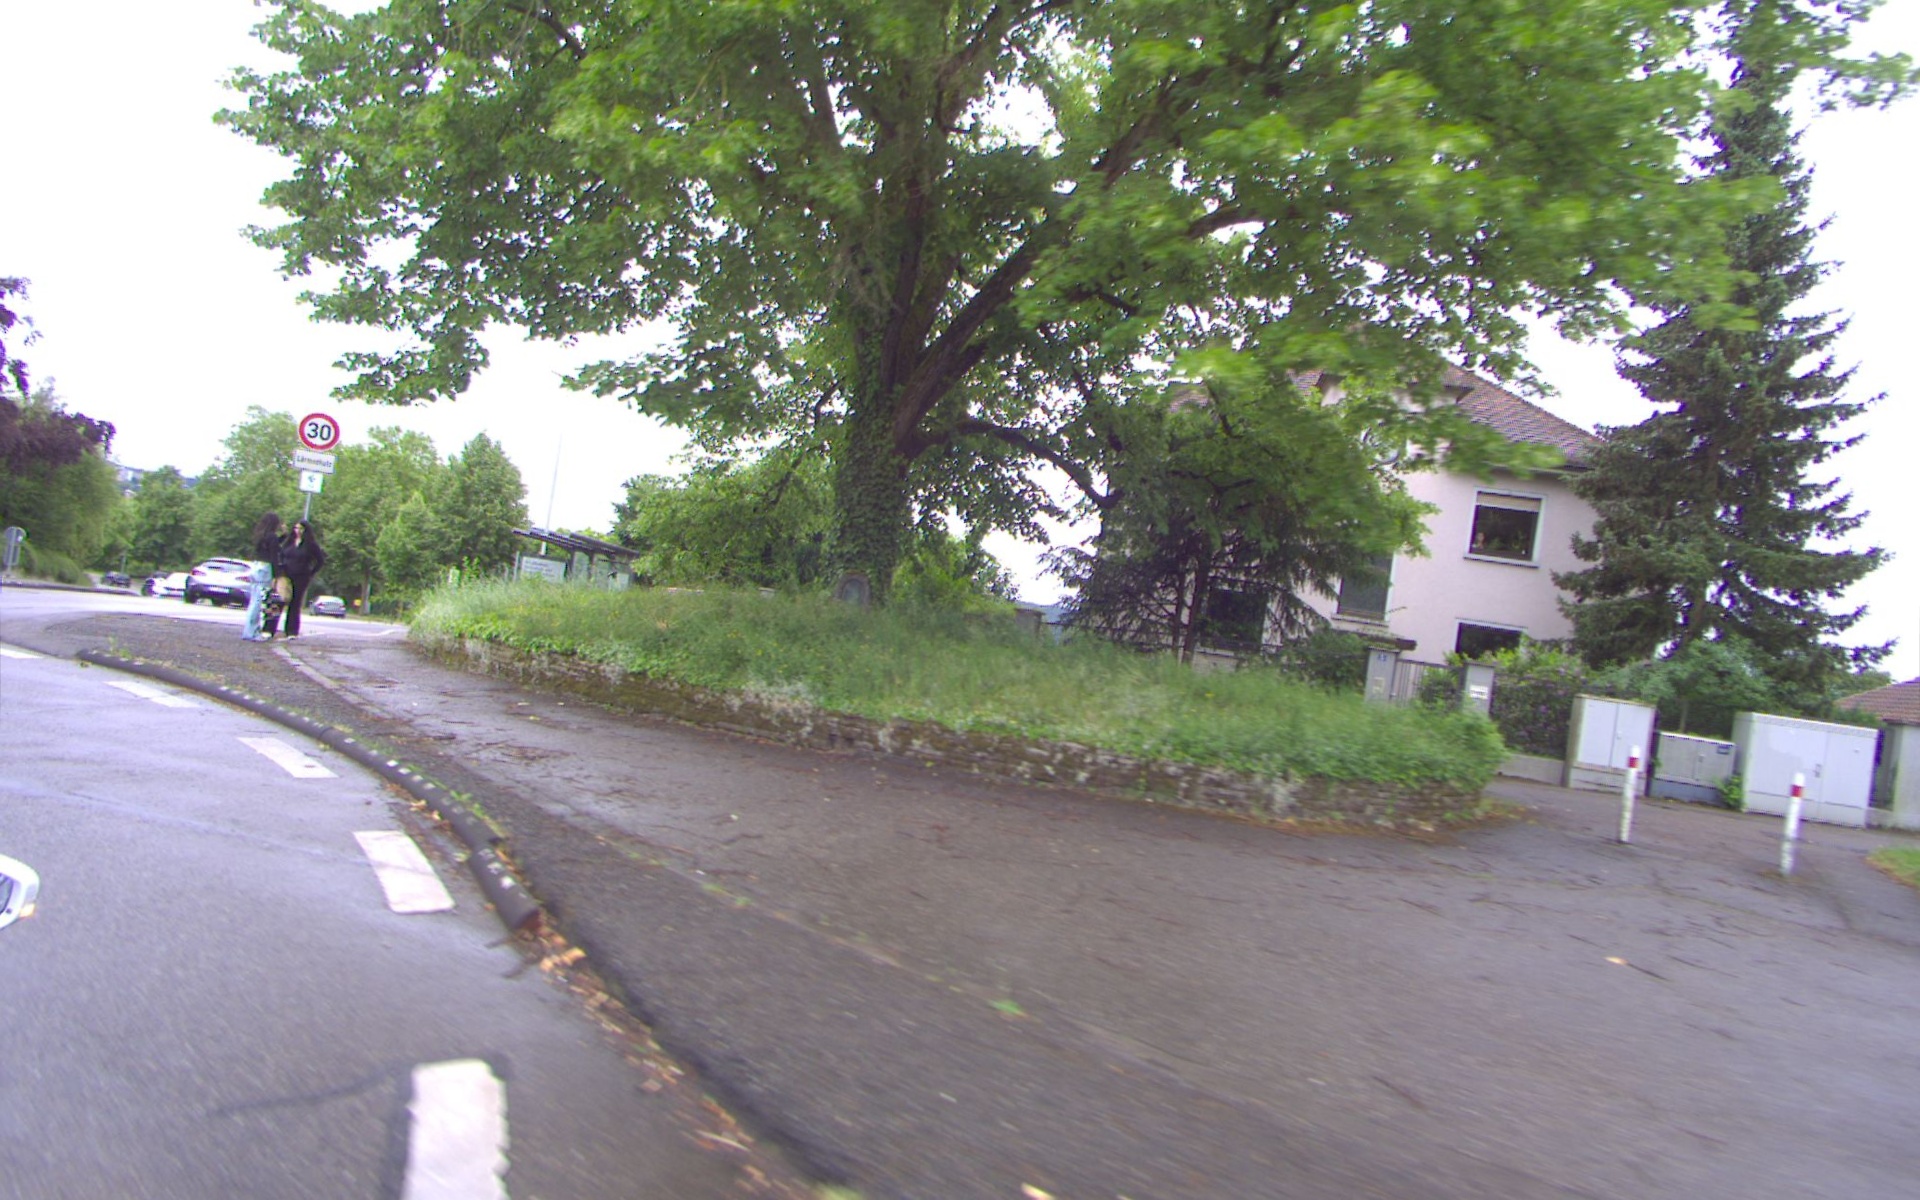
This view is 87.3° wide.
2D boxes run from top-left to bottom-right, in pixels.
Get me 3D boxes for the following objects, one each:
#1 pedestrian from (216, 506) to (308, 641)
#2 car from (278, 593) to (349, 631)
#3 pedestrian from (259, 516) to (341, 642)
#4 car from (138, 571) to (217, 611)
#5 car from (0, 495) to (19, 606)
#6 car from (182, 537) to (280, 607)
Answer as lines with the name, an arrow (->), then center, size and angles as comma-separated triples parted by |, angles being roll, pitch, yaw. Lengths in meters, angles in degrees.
pedestrian -> -9.522, -0.343, 13.740 | 0.624, 1.732, 0.530 | 7, -2, 1
car -> -41.606, 0.782, 64.733 | 3.932, 1.860, 2.070 | 6, -2, 29
pedestrian -> -9.619, -0.301, 14.679 | 0.521, 1.732, 0.635 | 6, -2, 32
car -> -35.894, -0.372, 46.276 | 1.894, 1.406, 4.491 | 10, -6, -27
car -> -13.564, -0.731, 12.571 | 1.752, 1.557, 3.968 | 7, -1, -32
car -> -22.271, -0.889, 30.881 | 1.751, 1.823, 4.215 | 7, -1, -29
